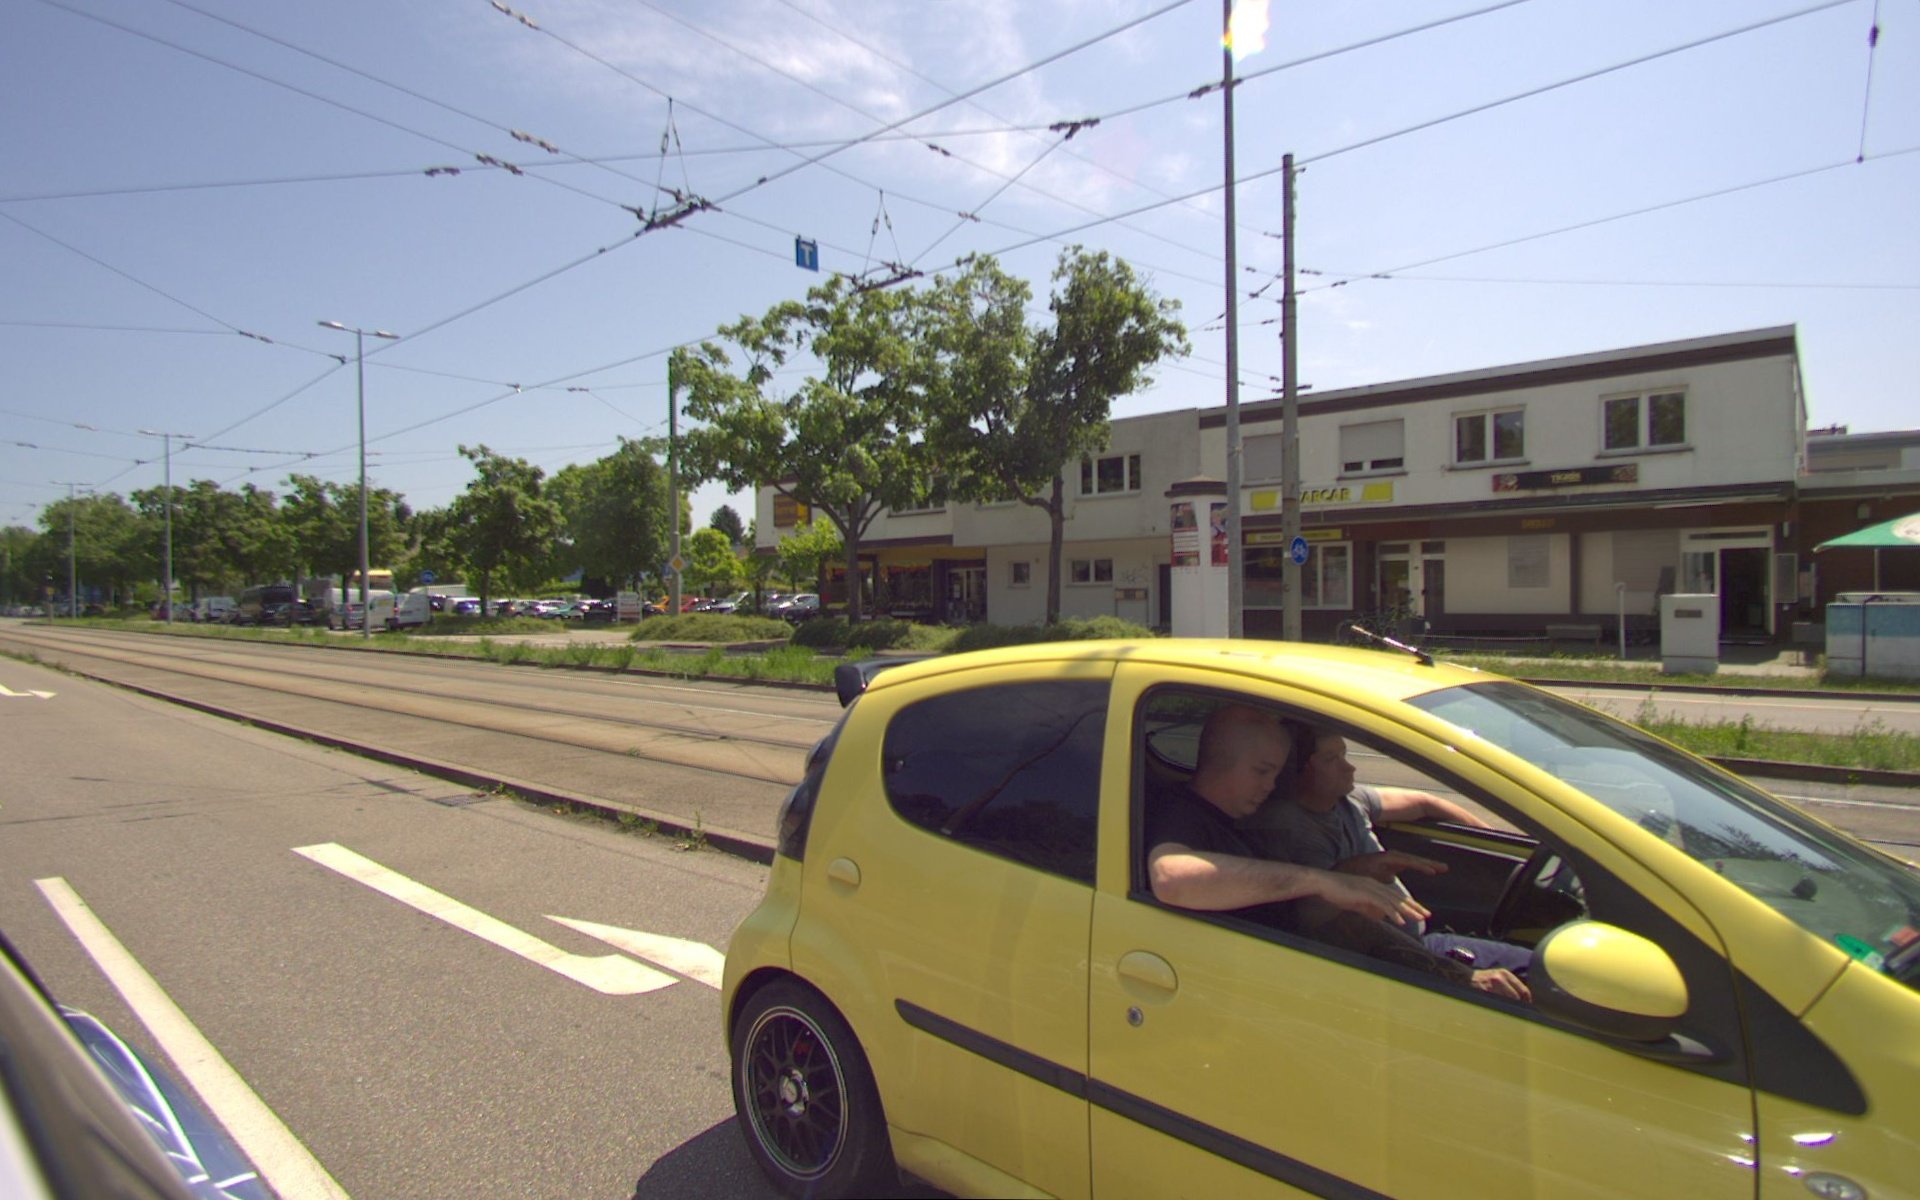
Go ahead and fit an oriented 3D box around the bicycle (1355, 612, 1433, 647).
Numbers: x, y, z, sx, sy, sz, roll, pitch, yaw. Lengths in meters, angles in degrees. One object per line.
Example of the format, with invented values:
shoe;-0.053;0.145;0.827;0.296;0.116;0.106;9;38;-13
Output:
bicycle;11.312;0.744;26.390;1.787;0.854;0.522;0;2;42

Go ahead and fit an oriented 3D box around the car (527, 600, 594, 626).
car;-23.603;0.755;59.919;1.596;1.502;3.374;-1;0;36

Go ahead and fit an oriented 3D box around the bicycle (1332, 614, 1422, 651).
bicycle;10.272;0.785;24.994;1.958;0.854;0.596;0;2;42

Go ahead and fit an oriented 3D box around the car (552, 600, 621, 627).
car;-21.523;0.738;58.393;1.790;1.502;3.374;-1;0;36

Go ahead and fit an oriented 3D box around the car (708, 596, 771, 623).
car;-15.053;0.651;69.194;1.812;1.798;3.948;-1;0;38

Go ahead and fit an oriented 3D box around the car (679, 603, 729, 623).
car;-18.490;0.959;73.195;1.505;1.400;3.314;-1;0;38

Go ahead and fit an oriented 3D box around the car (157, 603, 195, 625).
car;-63.524;1.134;81.940;4.200;1.807;1.660;-1;-1;41

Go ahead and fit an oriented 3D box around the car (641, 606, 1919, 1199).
car;1.003;0.752;2.284;3.654;1.432;1.599;0;-2;41

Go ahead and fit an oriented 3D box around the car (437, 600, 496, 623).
car;-34.703;0.791;71.166;1.600;1.517;3.374;-1;0;36

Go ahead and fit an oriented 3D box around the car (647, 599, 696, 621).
car;-21.903;0.745;76.957;1.505;1.573;3.314;-1;0;38

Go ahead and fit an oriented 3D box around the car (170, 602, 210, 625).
car;-60.168;1.040;79.065;4.200;1.807;1.660;-1;0;41

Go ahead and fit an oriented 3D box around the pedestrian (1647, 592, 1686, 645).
pedestrian;16.340;0.427;23.417;0.674;1.208;0.512;-1;0;42

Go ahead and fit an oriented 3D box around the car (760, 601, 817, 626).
car;-11.132;0.854;65.936;1.622;1.549;3.449;-1;0;38

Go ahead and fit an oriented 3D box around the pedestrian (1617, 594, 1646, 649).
pedestrian;15.493;0.478;23.352;0.491;1.248;0.569;-1;0;41

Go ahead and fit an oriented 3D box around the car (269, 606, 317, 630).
car;-40.774;1.080;61.859;3.670;1.397;1.652;-1;0;43

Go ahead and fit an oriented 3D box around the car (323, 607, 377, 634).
car;-33.312;1.091;55.254;3.569;1.397;1.652;-1;0;43

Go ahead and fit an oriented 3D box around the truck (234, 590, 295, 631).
truck;-45.350;0.656;65.968;4.928;2.560;2.196;-1;0;42

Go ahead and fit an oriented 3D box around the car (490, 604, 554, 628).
car;-27.191;0.988;62.898;1.600;1.404;3.374;-1;0;36

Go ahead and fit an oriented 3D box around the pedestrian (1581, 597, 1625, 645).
pedestrian;15.413;0.493;24.253;0.810;1.136;0.558;-1;0;42

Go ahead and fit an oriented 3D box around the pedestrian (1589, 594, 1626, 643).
pedestrian;15.884;0.442;24.831;0.674;1.172;0.512;-1;0;42

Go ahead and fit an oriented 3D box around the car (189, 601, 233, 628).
car;-55.670;1.063;75.205;4.507;1.989;1.660;-1;0;41

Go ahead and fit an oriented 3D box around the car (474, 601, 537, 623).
car;-29.282;0.769;65.298;1.600;1.404;3.374;-1;0;36

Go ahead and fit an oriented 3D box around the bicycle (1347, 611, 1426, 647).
bicycle;10.934;0.738;25.956;1.787;0.854;0.522;0;2;42

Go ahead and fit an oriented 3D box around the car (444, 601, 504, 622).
car;-33.079;0.778;68.971;1.600;1.404;3.374;-1;0;36

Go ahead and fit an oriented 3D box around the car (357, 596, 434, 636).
car;-28.477;0.791;50.998;4.660;1.898;1.972;-1;0;42

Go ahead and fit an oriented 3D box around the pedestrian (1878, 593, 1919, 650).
pedestrian;19.164;0.437;20.606;0.674;1.136;0.512;-1;0;42

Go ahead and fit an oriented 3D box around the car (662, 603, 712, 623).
car;-20.239;0.936;75.132;1.505;1.469;3.314;-1;0;38

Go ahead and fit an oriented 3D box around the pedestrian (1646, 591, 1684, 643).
pedestrian;16.649;0.398;23.901;0.674;1.218;0.512;-1;0;42

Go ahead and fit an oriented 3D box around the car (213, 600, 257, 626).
car;-51.460;0.933;71.809;3.867;1.807;1.660;-1;0;41

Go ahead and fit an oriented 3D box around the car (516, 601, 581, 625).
car;-25.132;0.769;61.830;1.600;1.404;3.374;-1;0;36

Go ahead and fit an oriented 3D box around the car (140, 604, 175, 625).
car;-68.666;1.239;86.598;3.821;1.716;1.660;-1;0;41

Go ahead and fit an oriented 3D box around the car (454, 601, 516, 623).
car;-31.252;0.766;66.698;1.600;1.404;3.374;-1;0;36
